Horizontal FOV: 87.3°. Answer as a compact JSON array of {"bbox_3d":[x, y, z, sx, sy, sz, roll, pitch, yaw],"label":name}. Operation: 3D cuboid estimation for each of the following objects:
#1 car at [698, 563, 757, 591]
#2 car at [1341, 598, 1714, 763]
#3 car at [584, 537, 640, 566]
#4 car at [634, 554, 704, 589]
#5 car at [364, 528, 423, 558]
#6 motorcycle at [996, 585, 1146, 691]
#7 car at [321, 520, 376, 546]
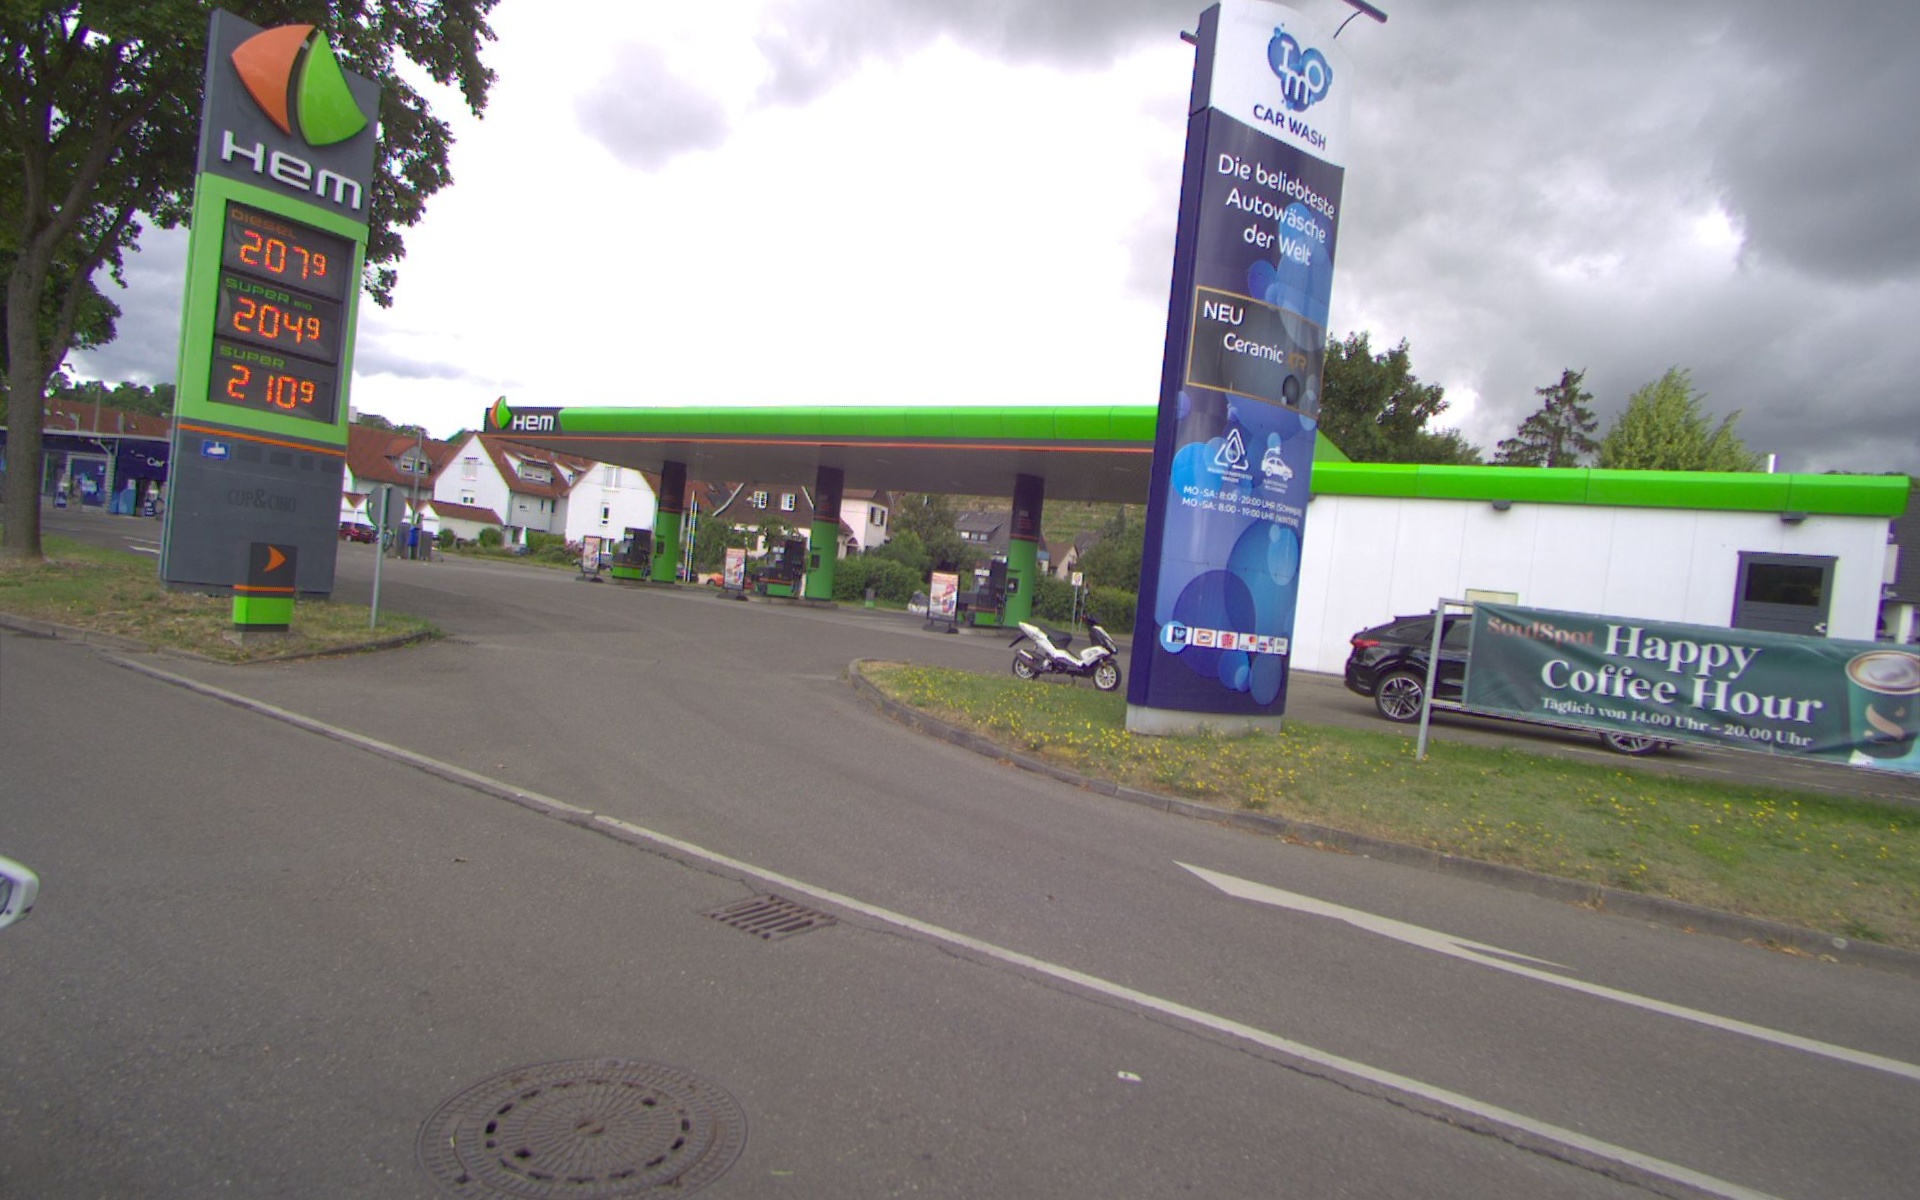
[{"bbox_3d":[-14.759,-1.458,63.755,3.273,1.279,1.421,7,-1,20],"label":"car"},{"bbox_3d":[7.953,1.037,14.436,4.265,1.697,1.821,6,2,32],"label":"car"},{"bbox_3d":[-25.589,-3.560,73.913,3.934,1.705,1.691,7,1,32],"label":"car"},{"bbox_3d":[-18.832,-1.847,65.090,3.925,1.709,1.762,7,-1,20],"label":"car"},{"bbox_3d":[-40.667,-4.120,72.187,3.667,1.618,1.539,7,-1,20],"label":"car"},{"bbox_3d":[1.663,0.560,15.219,1.957,1.348,0.856,7,1,32],"label":"motorcycle"},{"bbox_3d":[-45.154,-4.976,74.317,3.354,1.411,1.587,7,-1,20],"label":"car"}]
